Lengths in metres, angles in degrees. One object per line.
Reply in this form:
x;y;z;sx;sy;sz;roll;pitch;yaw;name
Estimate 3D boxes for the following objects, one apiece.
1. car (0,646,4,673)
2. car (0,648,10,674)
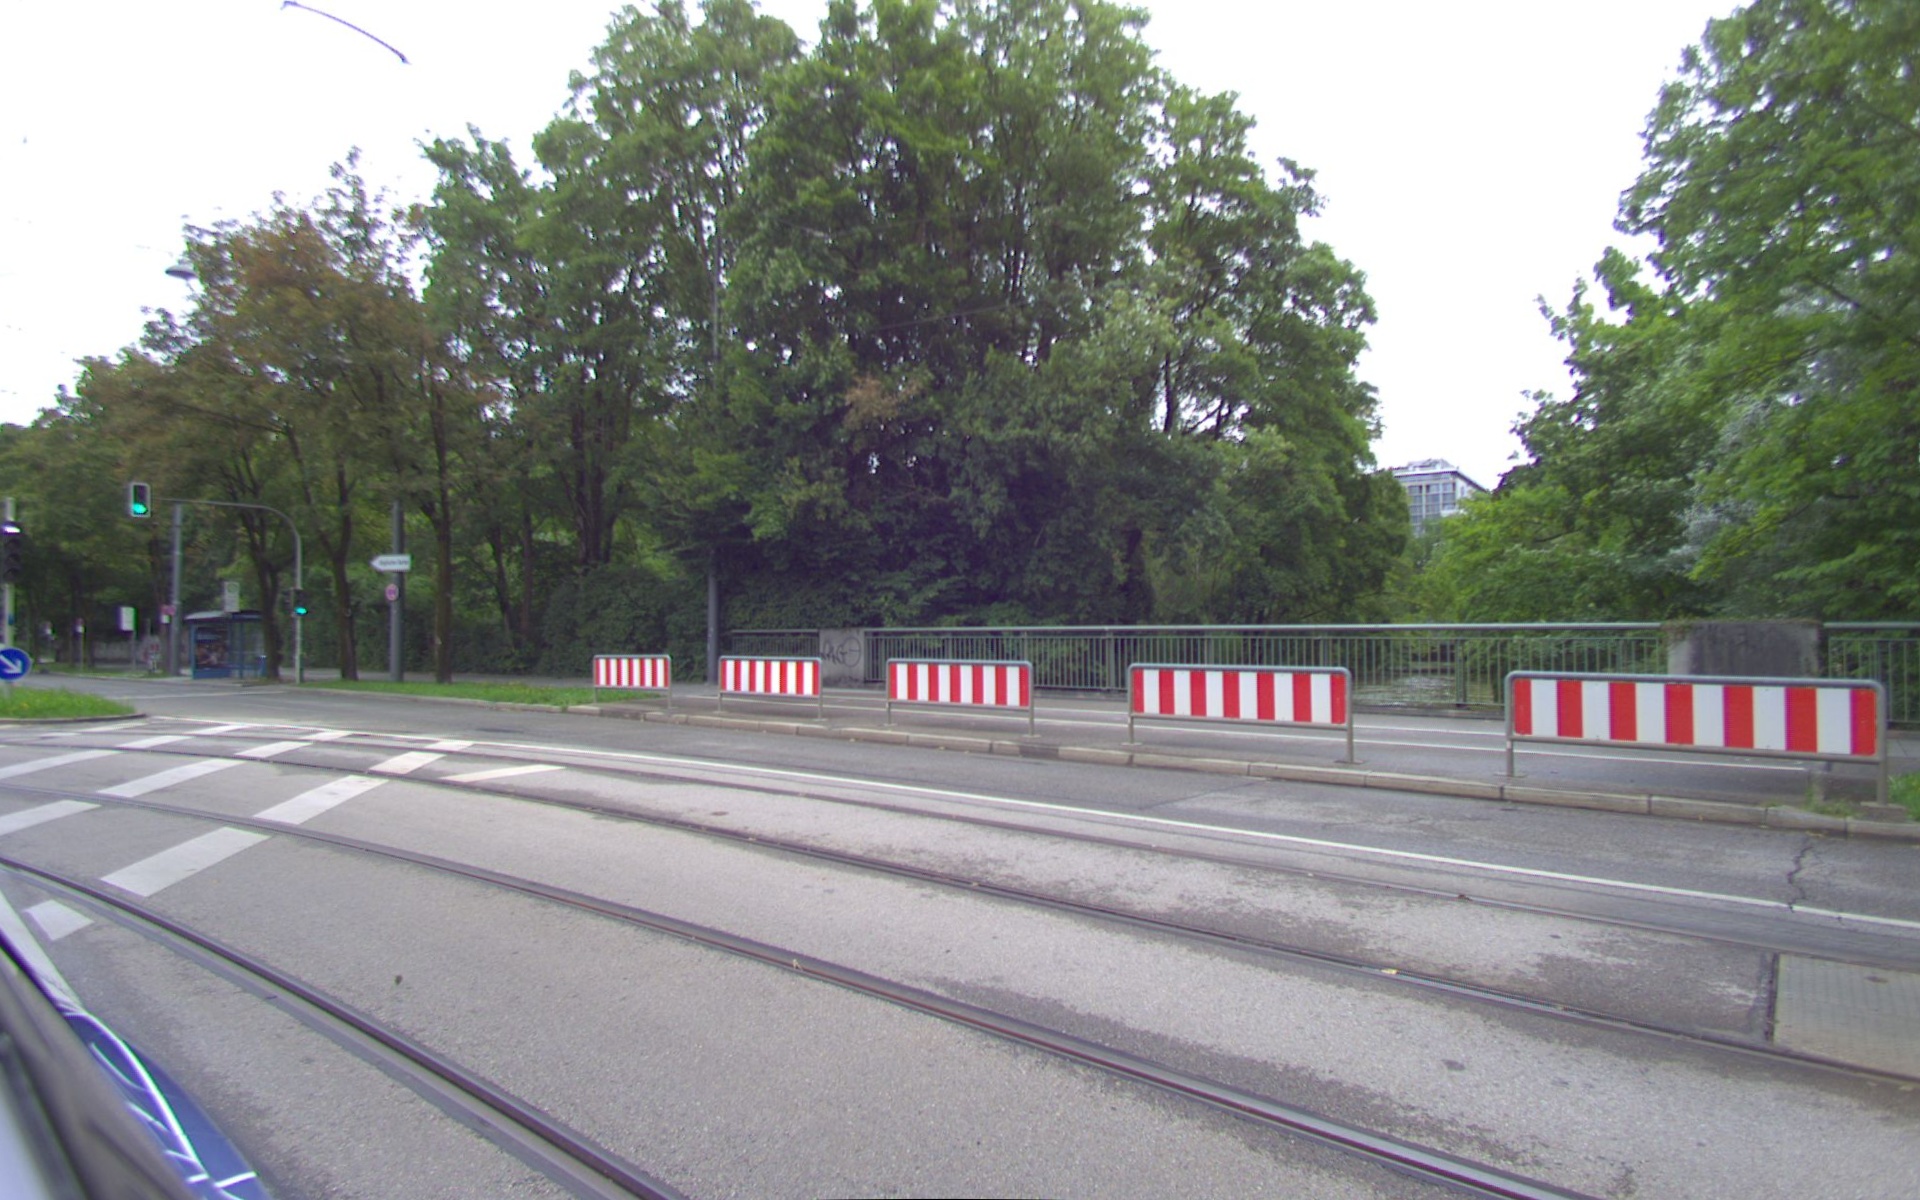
-64.687;3.976;66.778;3.996;1.739;1.864;-2;0;40;car
-60.575;3.799;62.774;3.996;1.552;1.864;-2;0;40;car
